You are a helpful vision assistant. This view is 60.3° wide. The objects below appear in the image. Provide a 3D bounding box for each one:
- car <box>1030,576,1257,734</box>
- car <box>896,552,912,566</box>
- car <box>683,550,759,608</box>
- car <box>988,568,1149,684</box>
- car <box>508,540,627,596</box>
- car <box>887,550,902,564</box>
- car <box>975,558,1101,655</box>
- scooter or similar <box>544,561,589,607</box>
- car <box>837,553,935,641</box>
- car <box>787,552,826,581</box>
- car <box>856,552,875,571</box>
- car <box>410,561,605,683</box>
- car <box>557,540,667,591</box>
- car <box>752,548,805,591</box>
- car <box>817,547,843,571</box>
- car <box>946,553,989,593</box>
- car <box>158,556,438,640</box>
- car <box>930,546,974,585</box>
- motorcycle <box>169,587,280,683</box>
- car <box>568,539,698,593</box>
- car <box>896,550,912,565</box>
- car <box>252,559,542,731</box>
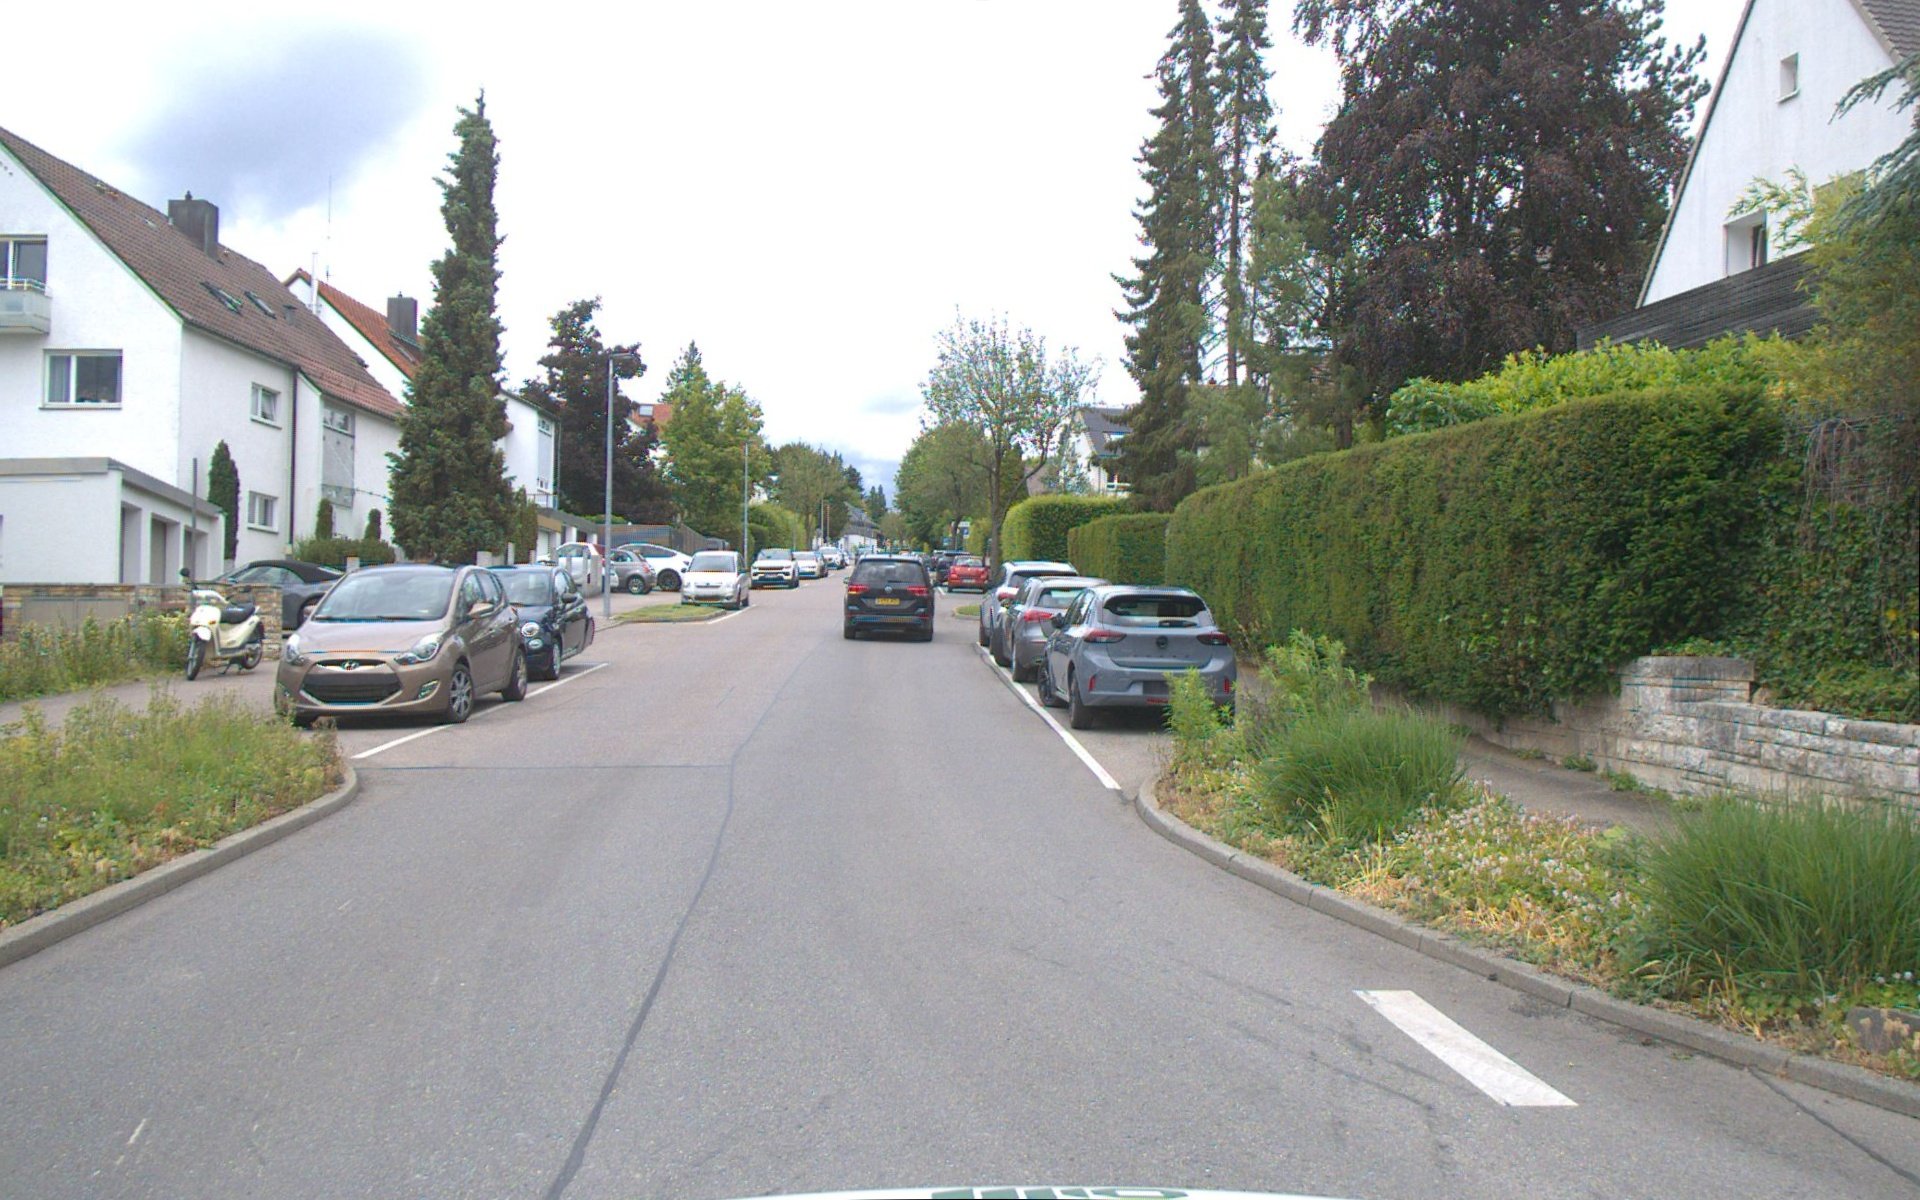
[{"bbox_3d":[1.908,0.519,18.358,1.818,1.489,3.998,1,1,-4],"label":"car"},{"bbox_3d":[-6.385,-4.662,187.542,1.633,1.527,3.464,1,2,-6],"label":"car"},{"bbox_3d":[-6.821,-0.631,47.573,1.725,1.590,3.854,0,2,-2],"label":"car"},{"bbox_3d":[1.493,0.309,24.246,1.818,1.489,4.169,1,1,-4],"label":"car"},{"bbox_3d":[-12.619,-1.009,53.283,3.359,1.605,1.657,3,0,-1],"label":"car"},{"bbox_3d":[-8.308,-5.495,209.636,1.612,1.697,3.464,1,2,-6],"label":"car"},{"bbox_3d":[1.346,0.059,30.049,1.818,1.609,4.169,1,1,-4],"label":"car"},{"bbox_3d":[-10.157,-0.424,42.709,0.464,1.168,1.456,3,2,14],"label":"scooter or similar"},{"bbox_3d":[-1.439,-0.116,33.436,1.810,1.639,4.311,1,1,-1],"label":"car"},{"bbox_3d":[-8.132,-1.792,87.988,1.800,1.447,4.407,-1,2,-2],"label":"car"},{"bbox_3d":[-9.801,-4.016,171.578,1.847,1.883,4.400,0,2,-2],"label":"car"},{"bbox_3d":[-6.249,0.247,23.235,1.839,1.563,3.507,0,2,-1],"label":"car"},{"bbox_3d":[-11.833,-1.163,56.379,3.359,1.538,1.692,3,0,-1],"label":"car"},{"bbox_3d":[-7.583,-1.311,69.409,1.800,1.695,4.408,-1,2,-1],"label":"car"},{"bbox_3d":[-8.827,-2.809,112.469,1.688,1.567,3.998,-1,2,-4],"label":"car"},{"bbox_3d":[0.285,-1.135,67.241,1.627,1.534,3.758,1,2,-2],"label":"car"},{"bbox_3d":[-11.573,-0.055,29.178,4.205,1.391,1.902,0,2,-7],"label":"car"},{"bbox_3d":[-0.395,-1.617,77.048,1.953,1.646,4.513,3,1,-1],"label":"car"},{"bbox_3d":[-9.483,0.428,21.384,0.420,1.181,1.864,0,0,6],"label":"motorcycle"},{"bbox_3d":[-11.837,-1.247,60.098,4.324,1.657,1.910,3,1,-3],"label":"car"},{"bbox_3d":[-6.544,-4.953,194.348,1.633,1.697,3.464,1,2,-6],"label":"car"},{"bbox_3d":[-5.830,0.382,17.644,1.839,1.612,3.871,0,2,-1],"label":"car"}]
